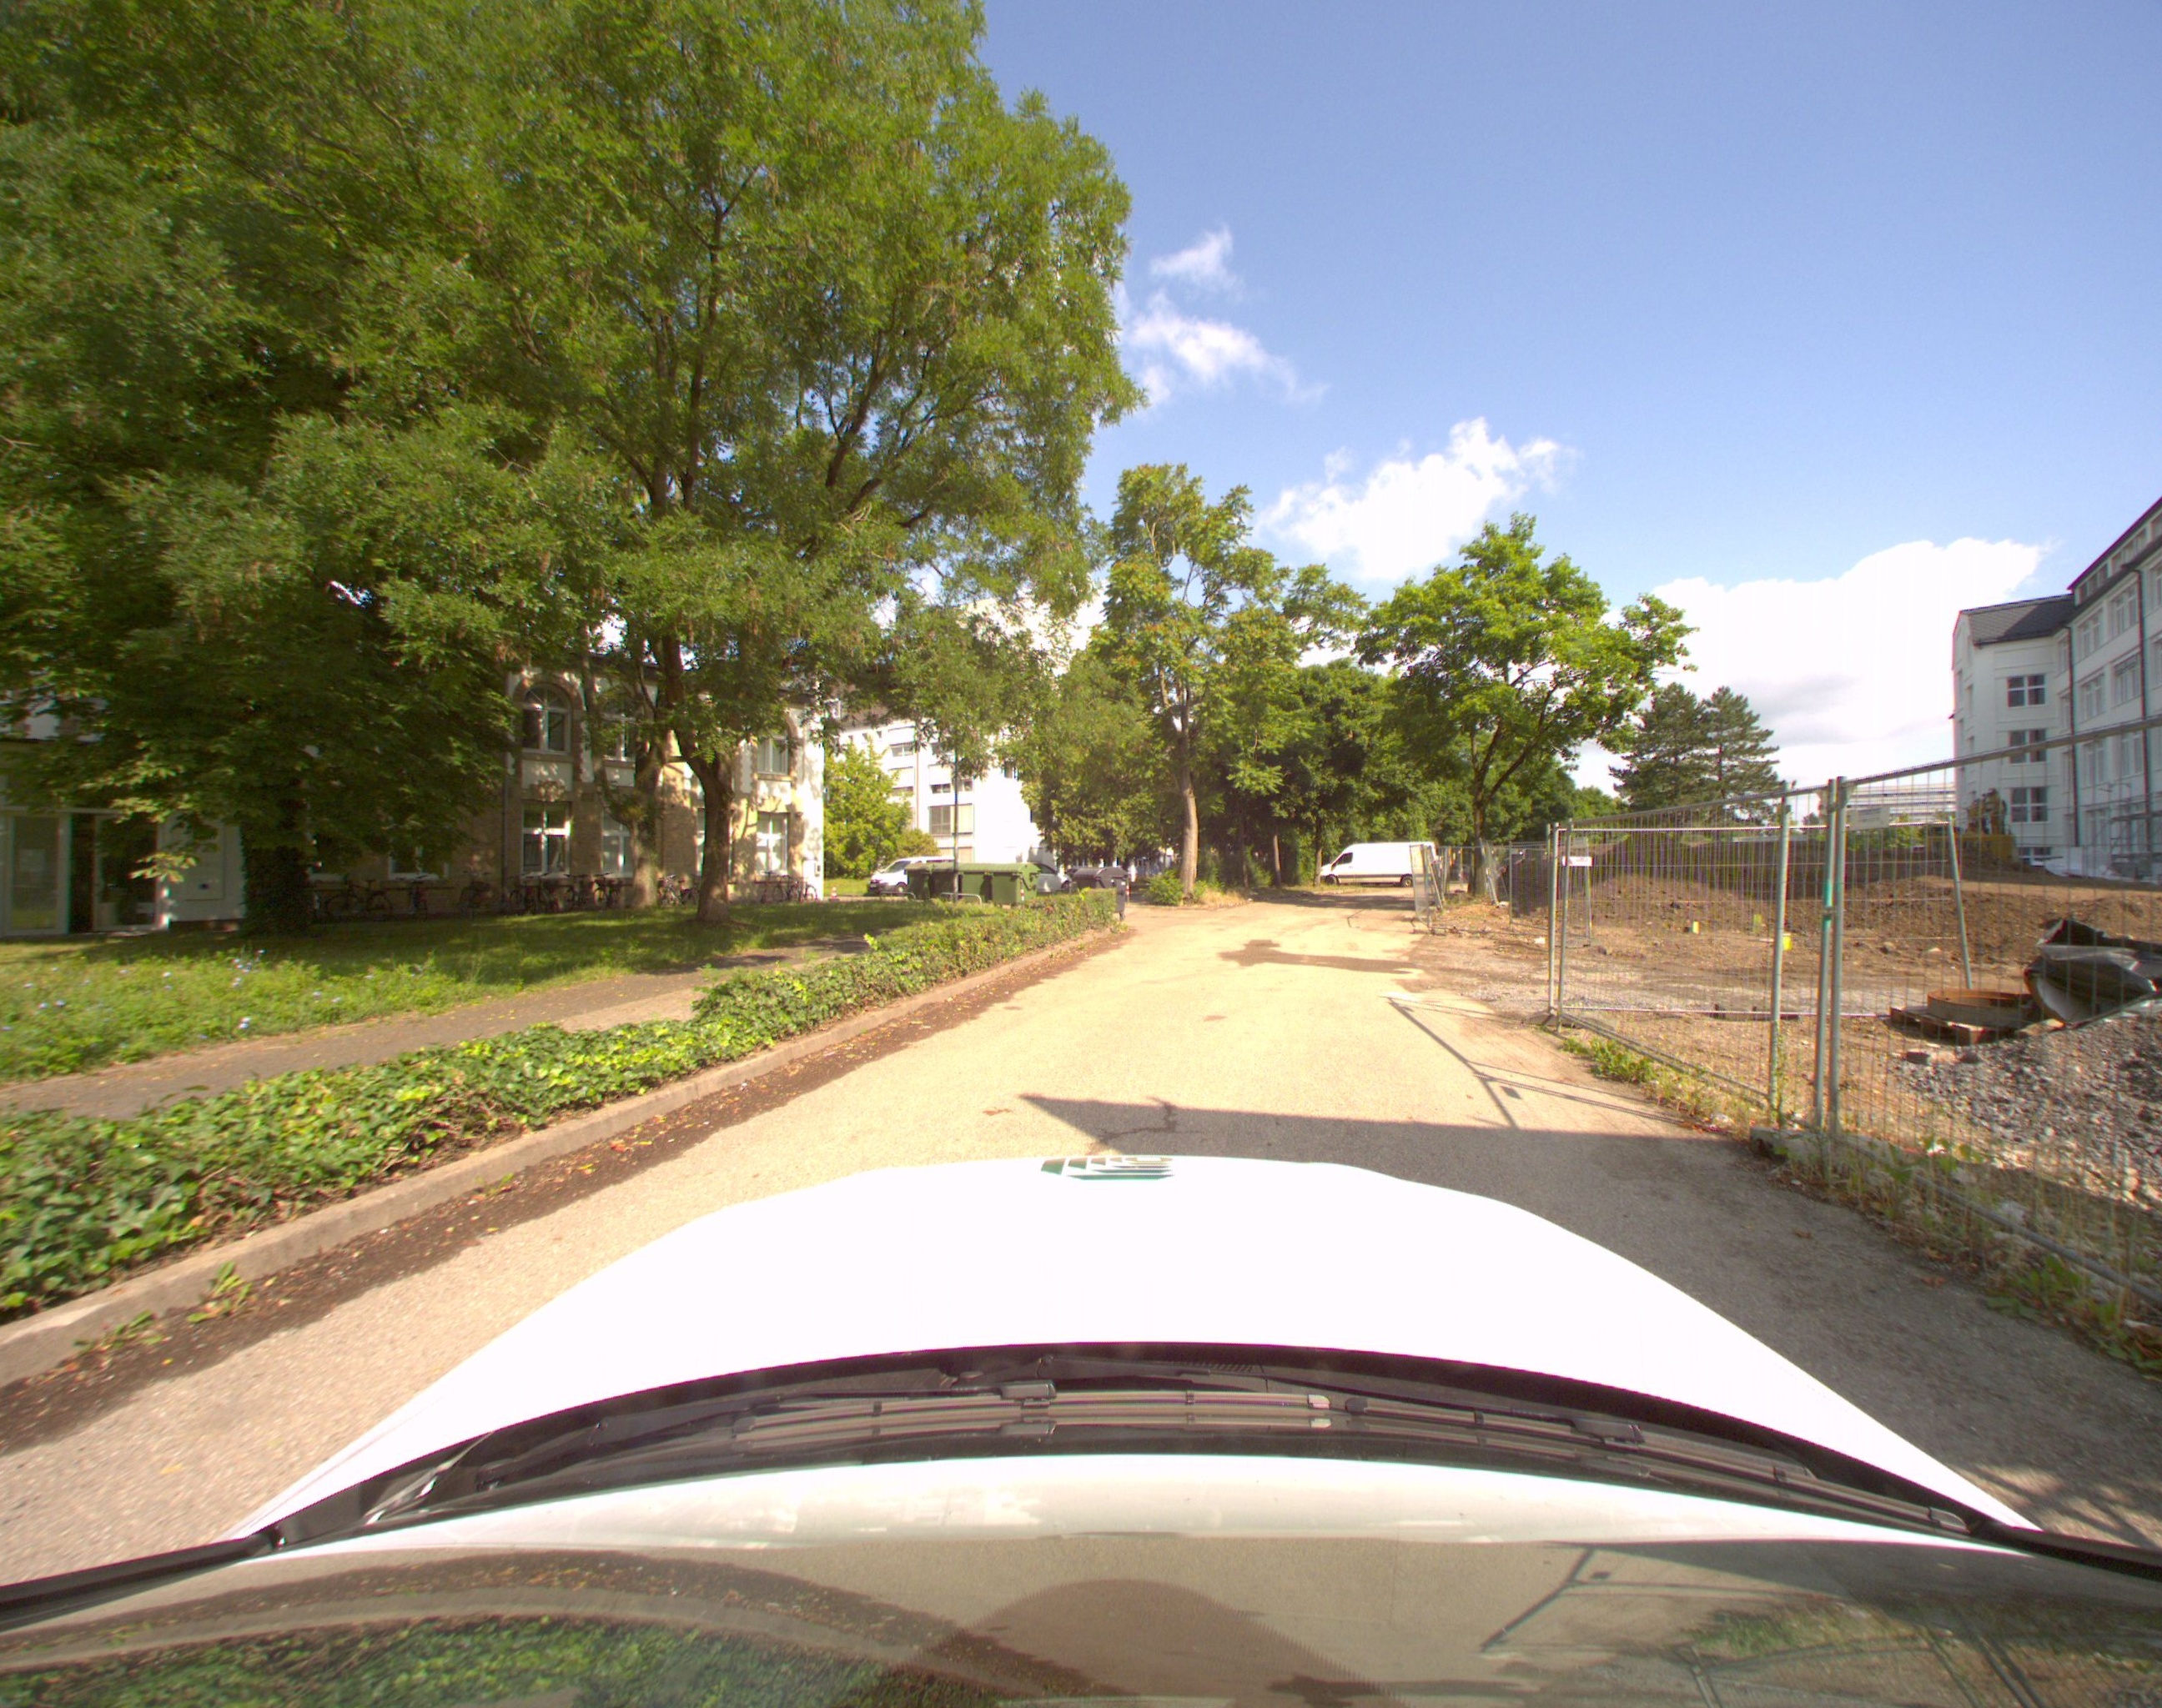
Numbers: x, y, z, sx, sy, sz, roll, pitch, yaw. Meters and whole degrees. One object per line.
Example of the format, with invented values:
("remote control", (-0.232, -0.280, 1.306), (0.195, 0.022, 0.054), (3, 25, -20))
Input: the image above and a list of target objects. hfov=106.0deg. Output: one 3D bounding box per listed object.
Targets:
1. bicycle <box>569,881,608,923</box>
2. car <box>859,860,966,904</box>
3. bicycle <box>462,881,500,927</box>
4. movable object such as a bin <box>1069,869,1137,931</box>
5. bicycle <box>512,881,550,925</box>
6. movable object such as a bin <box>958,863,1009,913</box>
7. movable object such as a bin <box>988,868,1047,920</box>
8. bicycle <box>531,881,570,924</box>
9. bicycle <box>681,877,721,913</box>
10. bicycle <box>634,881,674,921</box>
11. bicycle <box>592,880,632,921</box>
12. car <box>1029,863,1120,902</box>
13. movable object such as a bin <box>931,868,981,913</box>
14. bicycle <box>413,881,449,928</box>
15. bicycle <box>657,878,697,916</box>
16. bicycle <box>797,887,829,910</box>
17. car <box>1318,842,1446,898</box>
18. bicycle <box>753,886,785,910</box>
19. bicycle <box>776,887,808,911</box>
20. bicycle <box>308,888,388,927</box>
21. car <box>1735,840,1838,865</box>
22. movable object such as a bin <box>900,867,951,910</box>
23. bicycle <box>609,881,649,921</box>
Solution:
("bicycle", (-14.039, 1.342, 23.191), (2.041, 1.056, 0.422), (1, 2, 44))
("car", (-8.249, 1.350, 40.286), (1.974, 1.965, 4.986), (-2, -1, 42))
("bicycle", (-15.647, 1.277, 21.231), (2.041, 1.056, 0.422), (1, 2, 44))
("movable object such as a bin", (0.567, 1.201, 21.619), (1.253, 1.481, 1.284), (3, 2, -30))
("bicycle", (-14.899, 1.308, 22.042), (2.041, 1.056, 0.422), (1, 2, 44))
("movable object such as a bin", (-3.004, 1.034, 25.103), (1.218, 1.452, 0.886), (1, -1, 34))
("movable object such as a bin", (-1.888, 1.172, 24.341), (1.326, 1.452, 1.110), (1, -1, 34))
("bicycle", (-14.630, 1.322, 22.440), (2.041, 1.056, 0.422), (1, 2, 44))
("bicycle", (-12.027, 1.283, 25.748), (2.041, 1.056, 0.422), (1, -1, 44))
("bicycle", (-12.875, 1.397, 24.516), (2.041, 1.056, 0.422), (1, 2, 44))
("bicycle", (-13.700, 1.347, 23.764), (2.041, 1.056, 0.422), (1, 2, 44))
("car", (-0.230, 1.171, 34.938), (1.736, 1.420, 3.941), (0, 1, 40))
("movable object such as a bin", (-3.983, 1.148, 25.984), (1.218, 1.349, 0.952), (1, -1, 34))
("bicycle", (-16.383, 1.250, 20.506), (2.041, 1.056, 0.422), (1, 2, 44))
("bicycle", (-12.506, 1.314, 25.192), (2.041, 1.056, 0.422), (1, -1, 44))
("bicycle", (-9.545, 1.565, 28.978), (0.322, 0.705, 1.837), (2, -1, -43))
("car", (17.790, 0.870, 48.267), (6.890, 3.047, 2.011), (2, 1, 24))
("bicycle", (-10.589, 1.482, 27.591), (0.322, 0.705, 1.837), (2, -1, -43))
("bicycle", (-10.014, 1.546, 28.173), (0.322, 0.705, 1.837), (2, -1, -43))
("bicycle", (-18.030, 1.309, 20.047), (0.414, 0.820, 1.402), (0, 2, 42))
("car", (44.420, -0.112, 51.364), (4.807, 1.428, 1.856), (1, -1, 42))
("movable object such as a bin", (-5.171, 1.122, 27.100), (1.363, 1.349, 0.952), (1, -1, 34))
("bicycle", (-13.459, 1.377, 24.234), (2.041, 1.056, 0.422), (1, 2, 44))
